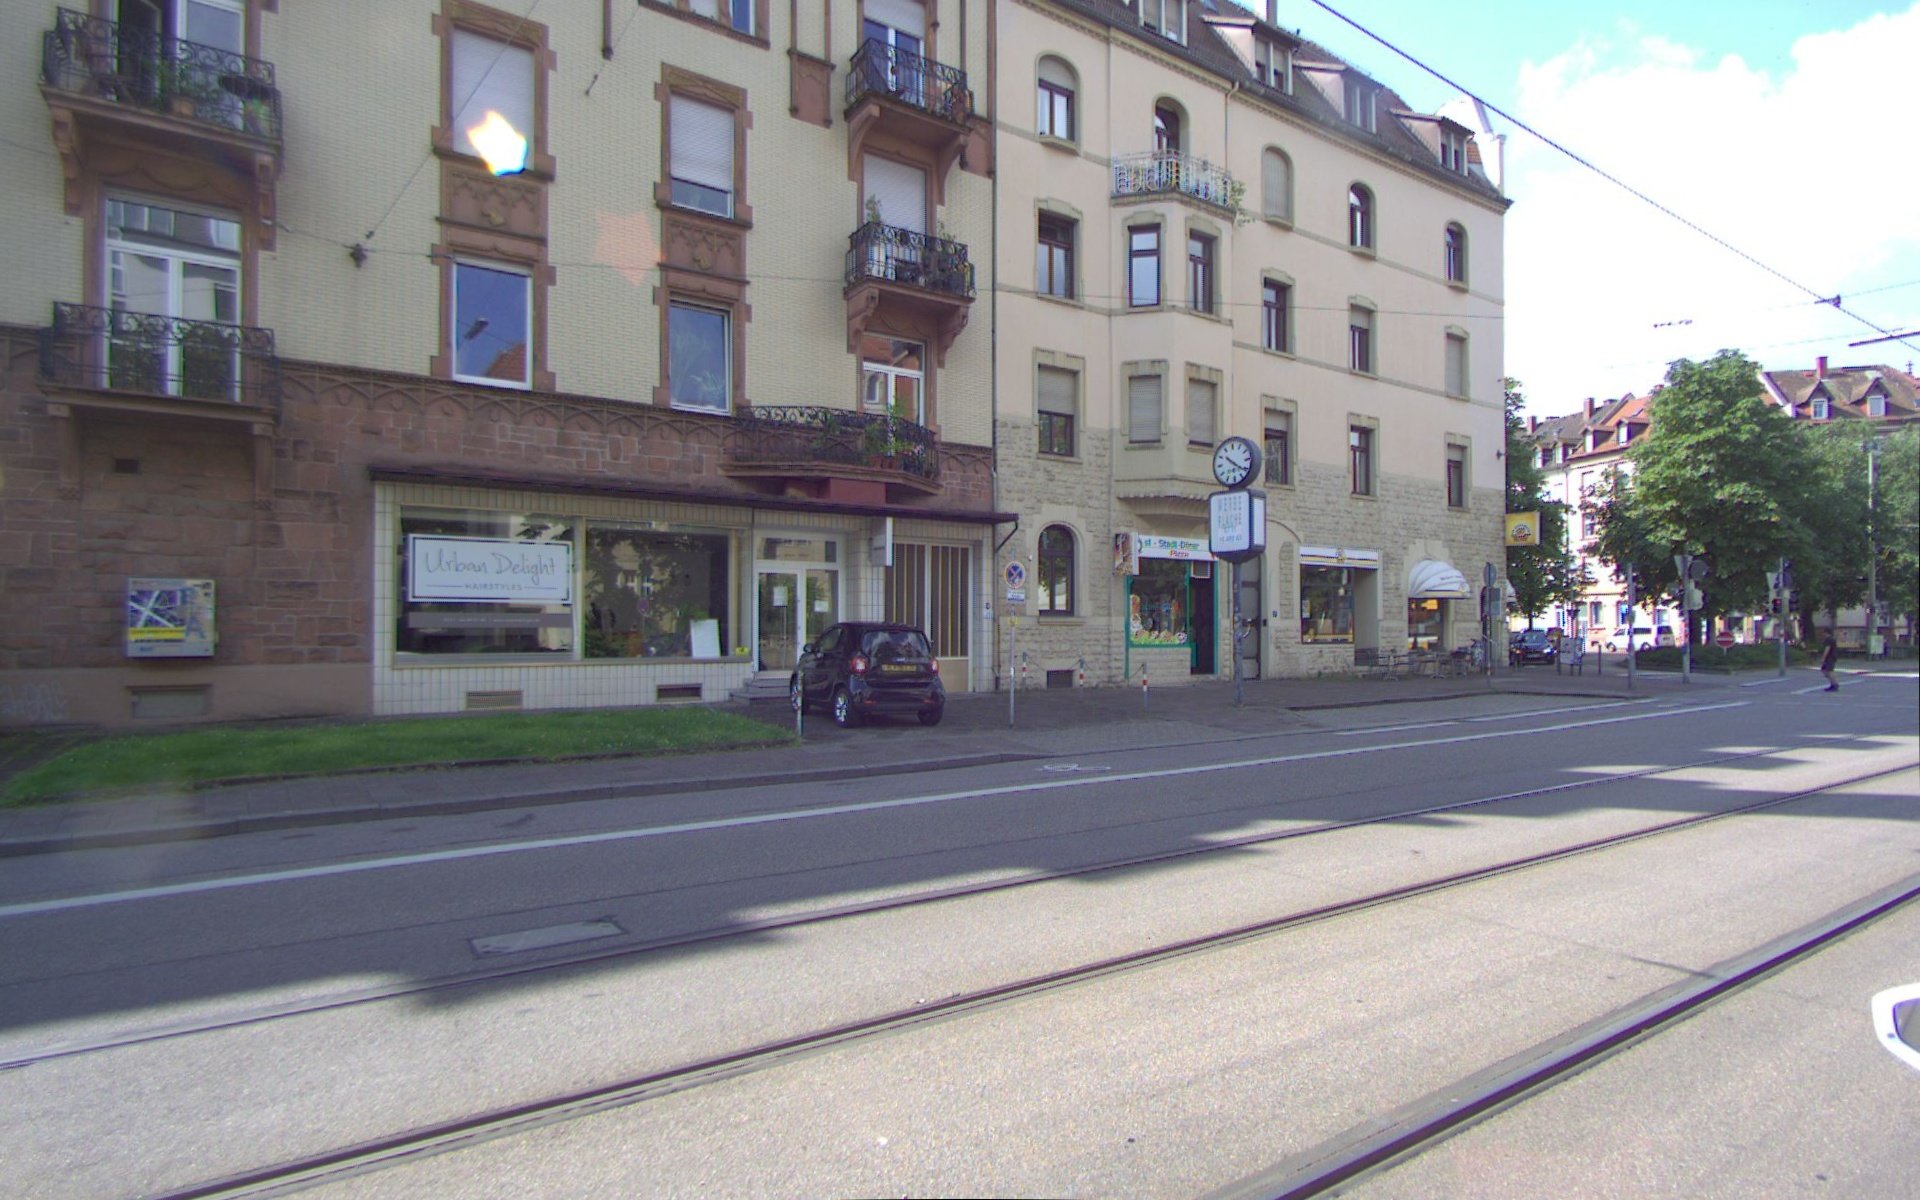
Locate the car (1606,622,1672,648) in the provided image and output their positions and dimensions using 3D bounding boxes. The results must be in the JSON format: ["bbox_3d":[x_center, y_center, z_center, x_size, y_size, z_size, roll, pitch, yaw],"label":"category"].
[{"bbox_3d":[50.670,2.610,75.039,1.962,1.929,3.997,0,-2,-5],"label":"car"}]

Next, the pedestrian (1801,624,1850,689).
[{"bbox_3d":[23.173,1.511,26.907,0.690,1.706,0.750,1,-1,-21],"label":"pedestrian"}]

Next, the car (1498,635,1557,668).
[{"bbox_3d":[27.822,2.478,49.342,1.726,1.538,4.070,0,-2,18],"label":"car"}]

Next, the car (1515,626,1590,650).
[{"bbox_3d":[40.340,2.570,68.495,1.976,1.617,3.970,1,-2,-29],"label":"car"}]

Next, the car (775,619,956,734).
[{"bbox_3d":[-1.598,1.125,16.097,1.716,1.505,3.163,1,1,-30],"label":"car"}]

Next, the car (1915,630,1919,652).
[{"bbox_3d":[60.769,2.502,60.812,3.928,1.378,1.676,-1,-2,29],"label":"car"}]
